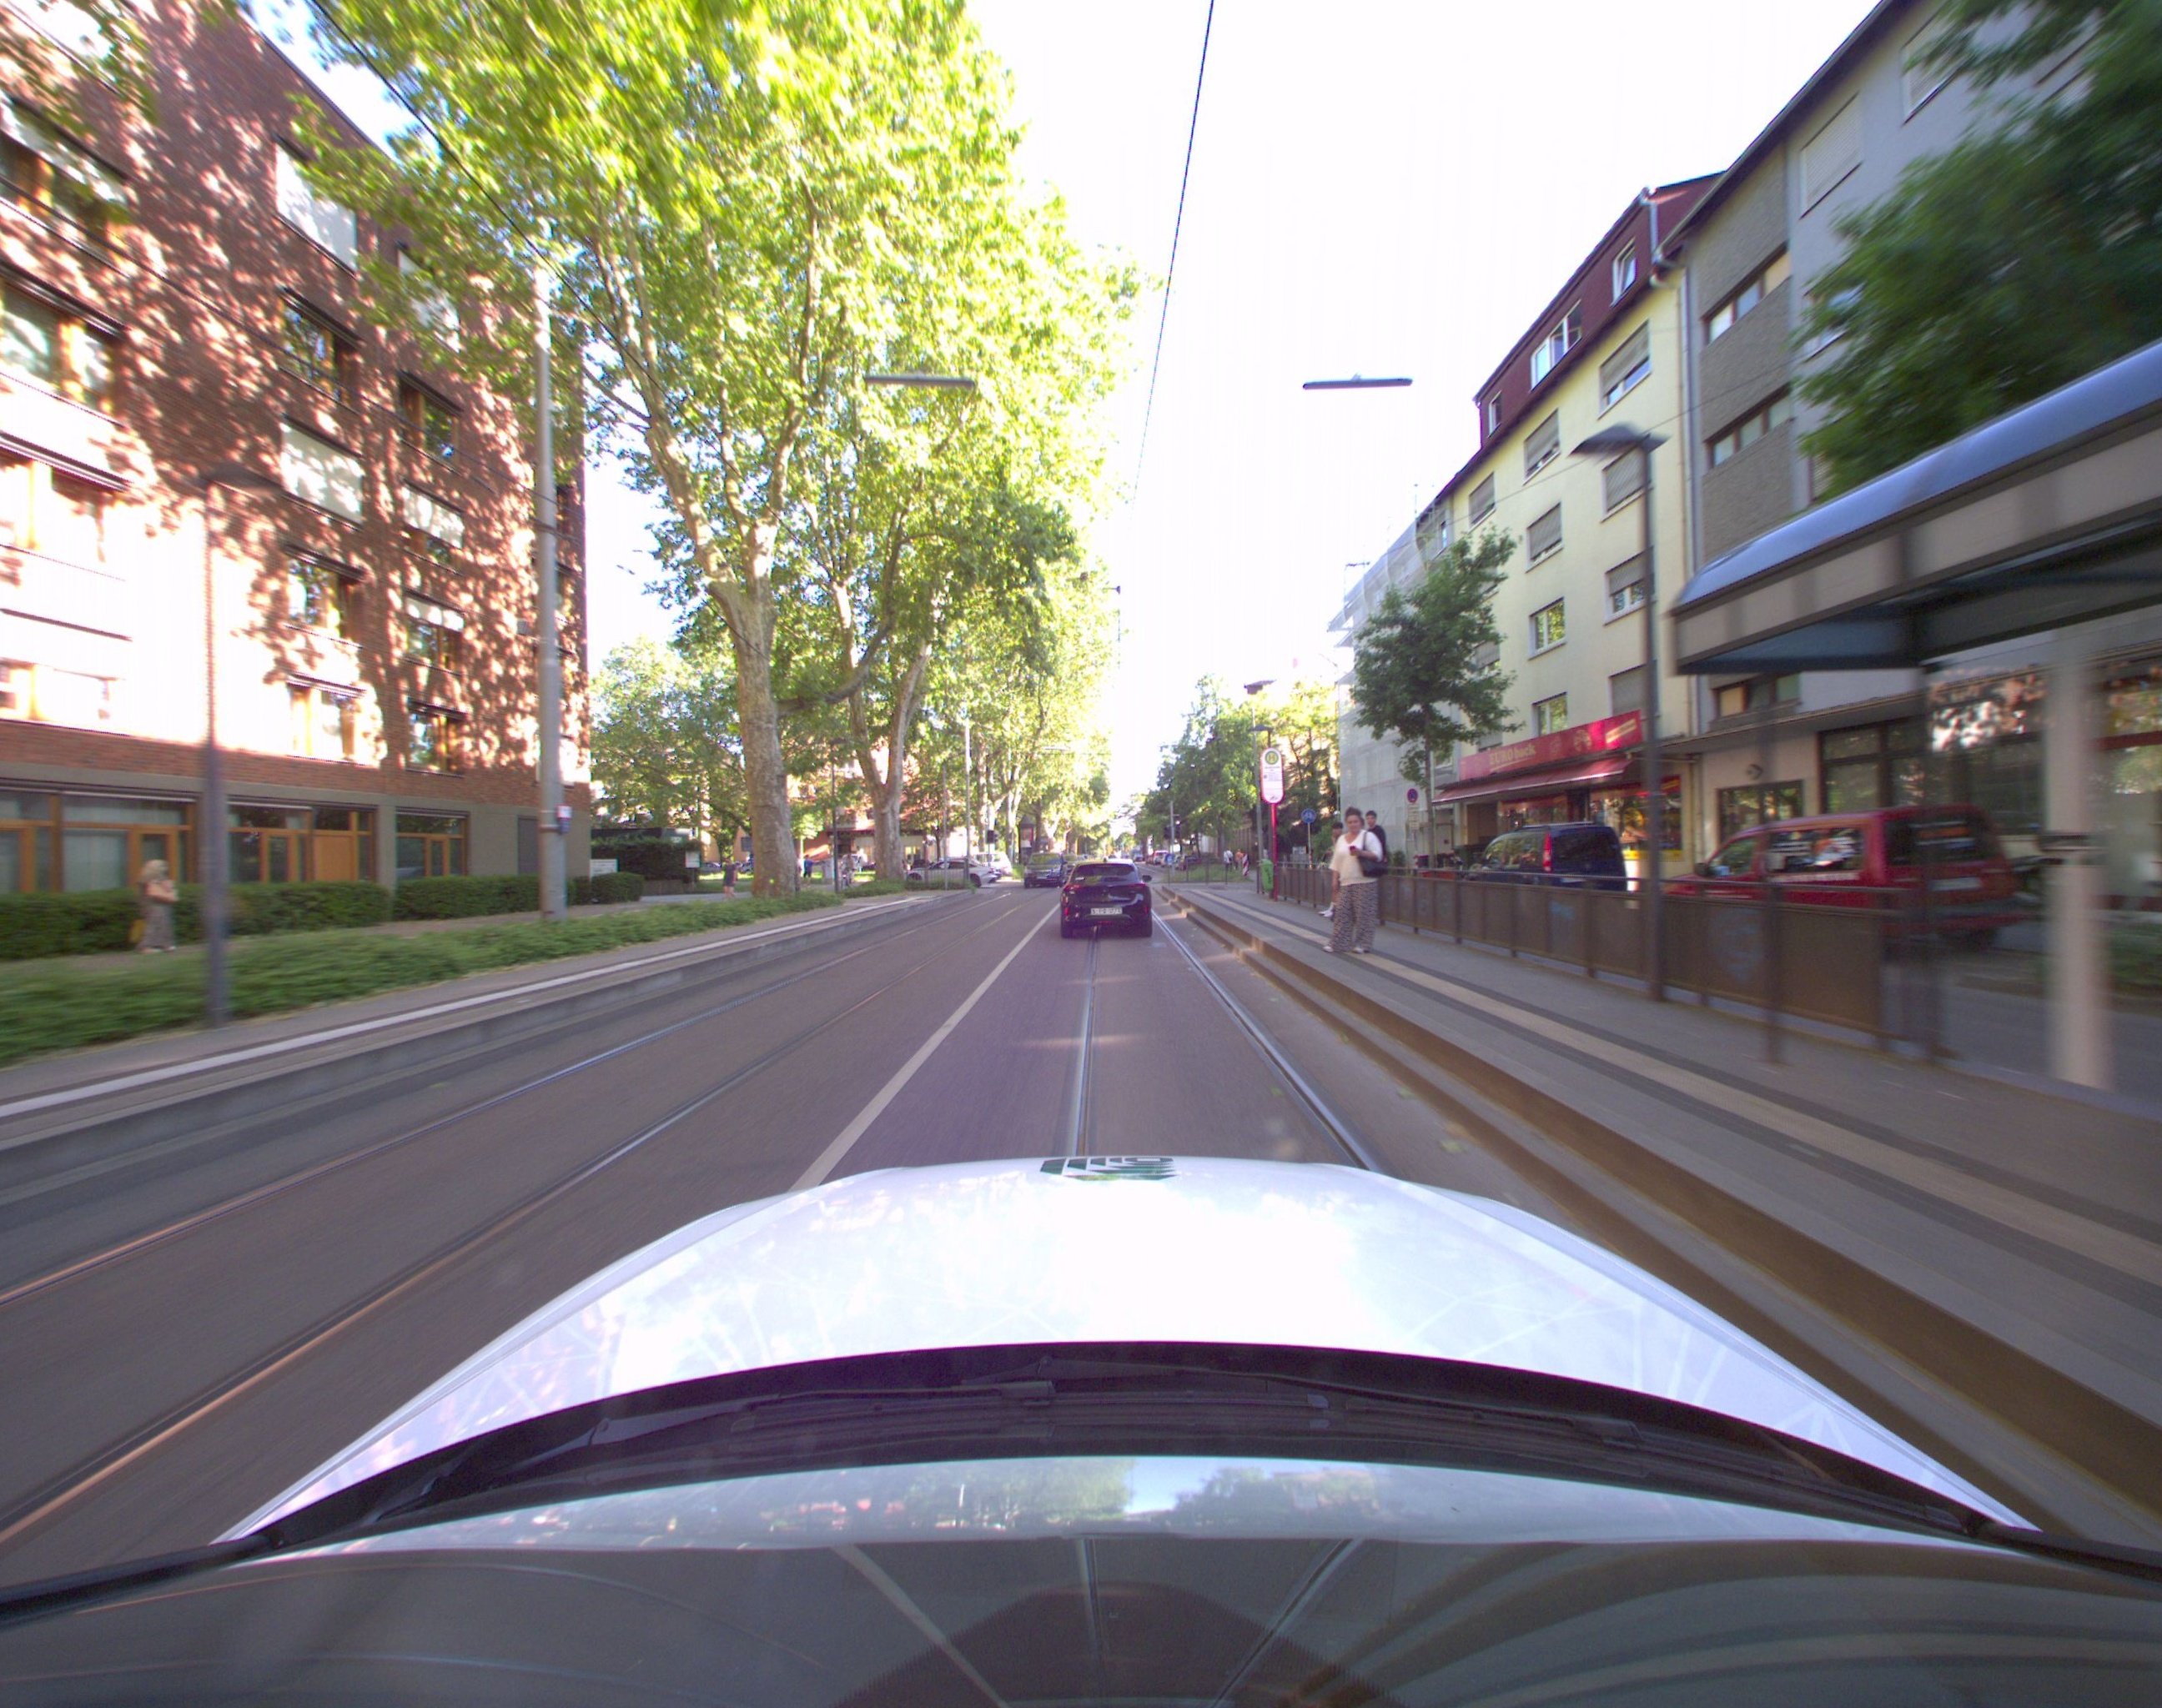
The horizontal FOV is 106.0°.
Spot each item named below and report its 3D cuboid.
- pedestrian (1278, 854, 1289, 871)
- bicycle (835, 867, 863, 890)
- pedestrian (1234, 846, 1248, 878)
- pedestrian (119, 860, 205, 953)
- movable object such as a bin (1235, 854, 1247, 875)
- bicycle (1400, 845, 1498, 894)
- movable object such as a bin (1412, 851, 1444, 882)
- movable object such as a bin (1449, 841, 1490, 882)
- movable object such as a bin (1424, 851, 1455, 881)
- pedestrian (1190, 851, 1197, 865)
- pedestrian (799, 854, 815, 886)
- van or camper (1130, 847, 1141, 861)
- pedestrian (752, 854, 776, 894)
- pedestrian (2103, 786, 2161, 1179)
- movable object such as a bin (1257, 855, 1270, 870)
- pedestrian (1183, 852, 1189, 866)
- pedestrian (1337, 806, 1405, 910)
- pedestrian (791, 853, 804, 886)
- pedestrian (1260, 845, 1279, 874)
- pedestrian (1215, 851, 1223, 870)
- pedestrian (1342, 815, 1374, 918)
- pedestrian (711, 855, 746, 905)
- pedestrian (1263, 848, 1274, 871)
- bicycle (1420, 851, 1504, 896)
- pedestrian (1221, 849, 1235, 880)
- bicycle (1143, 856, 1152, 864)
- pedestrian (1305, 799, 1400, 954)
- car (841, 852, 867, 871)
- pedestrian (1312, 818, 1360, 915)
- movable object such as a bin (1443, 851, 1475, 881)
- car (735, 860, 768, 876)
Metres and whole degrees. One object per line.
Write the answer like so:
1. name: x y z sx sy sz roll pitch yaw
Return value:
1. pedestrian: 13.079 0.540 52.524 0.669 1.118 0.662 0 -1 12
2. bicycle: -11.008 1.142 38.640 0.712 1.063 1.841 0 0 3
3. pedestrian: 9.448 0.469 48.119 0.721 1.793 0.971 -3 0 12
4. pedestrian: -16.025 0.895 14.216 0.661 1.573 0.716 0 -1 1
5. movable object such as a bin: 9.663 0.634 49.132 0.634 1.202 1.309 -3 0 12
6. bicycle: 10.125 0.417 22.493 2.196 1.209 1.030 -3 -1 1
7. movable object such as a bin: 13.292 0.474 31.186 0.878 1.110 0.697 -3 -1 -1
8. movable object such as a bin: 13.806 0.267 28.961 0.996 1.397 0.824 -3 -1 -1
9. movable object such as a bin: 13.941 0.454 31.684 0.878 1.110 0.697 -3 -1 -1
10. pedestrian: 13.764 0.515 99.687 0.723 1.709 0.857 0 -1 3
11. pedestrian: -14.113 0.808 41.967 0.698 1.659 0.558 0 -1 -25
12. van or camper: 12.388 0.034 185.030 2.246 3.216 5.532 -2 0 1
13. pedestrian: -13.613 0.856 34.986 0.707 1.673 0.779 0 -1 1
14. pedestrian: 4.014 0.432 2.696 0.719 1.326 0.492 0 -1 -10
15. movable object such as a bin: 13.764 0.636 61.523 0.664 1.126 0.955 0 -1 -6
16. pedestrian: 12.842 0.597 99.739 0.723 1.693 0.958 0 -1 4
17. pedestrian: 4.837 0.063 13.622 0.843 1.701 0.692 0 -1 -5
18. pedestrian: -14.948 0.815 42.970 0.535 1.705 0.586 0 -1 -30
19. pedestrian: 12.218 0.358 52.782 0.869 1.885 0.992 0 -1 -16
20. pedestrian: 13.286 0.627 78.416 0.594 1.793 0.731 -1 -1 17
21. pedestrian: 4.910 0.222 14.445 0.489 1.770 0.706 0 -1 16
22. pedestrian: -11.888 0.870 27.494 0.735 1.672 0.969 0 -1 3
23. pedestrian: 13.986 0.422 60.636 0.618 1.725 0.552 0 -1 -11
24. bicycle: 10.962 0.556 23.497 0.686 1.209 2.192 -3 -1 -26
25. pedestrian: 8.694 0.634 48.145 0.721 1.793 0.856 -3 0 12
26. bicycle: 8.546 0.826 105.421 0.964 0.999 2.583 0 0 0
27. pedestrian: 3.169 0.250 9.533 0.642 1.713 0.828 0 -1 -33
28. car: -23.614 0.776 84.876 1.992 2.003 4.907 0 0 -7
29. pedestrian: 4.742 0.228 15.156 0.686 1.755 0.579 0 -1 -5
30. movable object such as a bin: 14.670 0.469 31.627 0.878 1.110 0.697 -3 -1 -1
31. car: -34.287 1.404 84.904 1.942 1.618 4.475 0 0 -6
